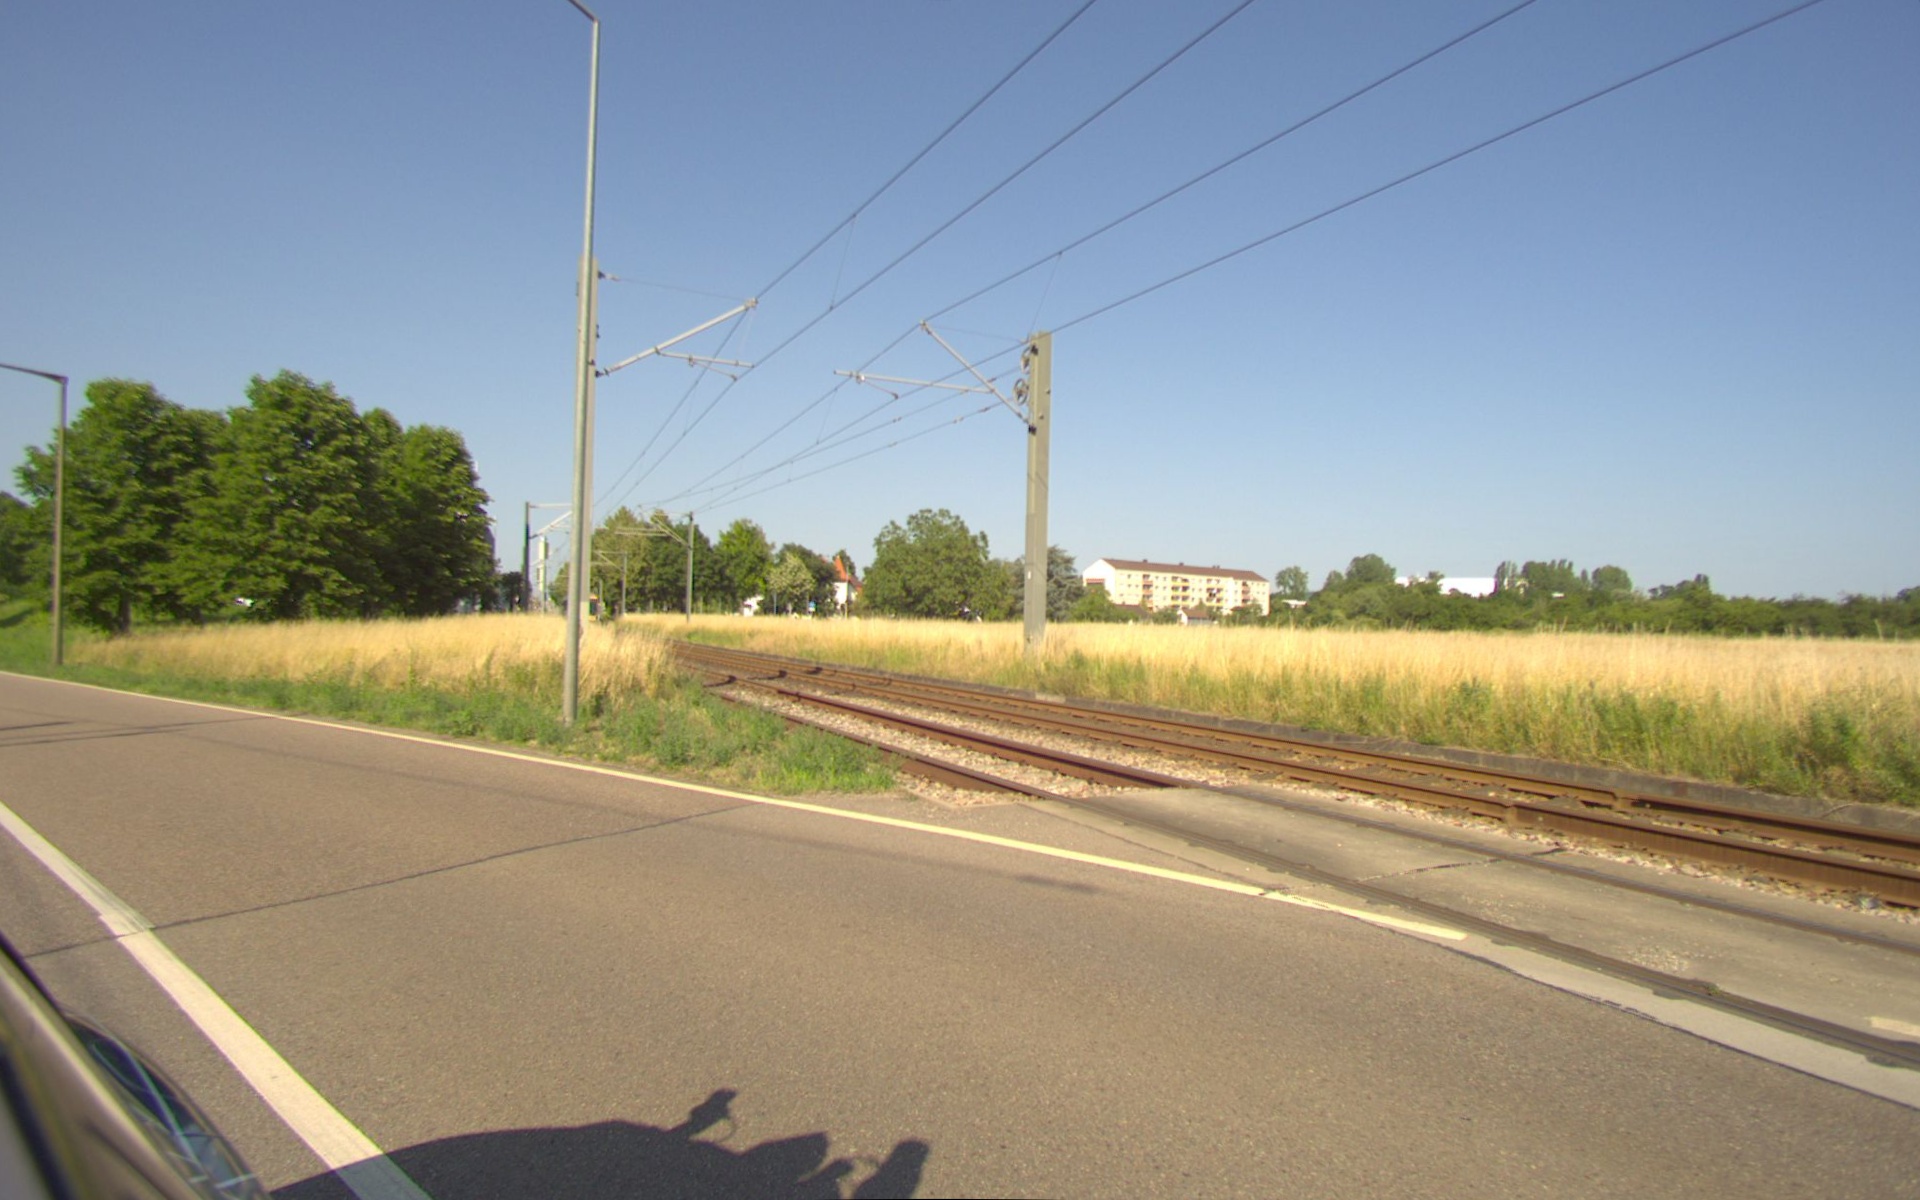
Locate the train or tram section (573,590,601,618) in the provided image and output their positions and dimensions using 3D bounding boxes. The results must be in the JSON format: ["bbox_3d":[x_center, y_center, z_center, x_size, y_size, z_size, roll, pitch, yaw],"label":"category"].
[{"bbox_3d":[-48.613,0.516,132.065,2.909,3.511,12.203,0,0,-18],"label":"train or tram section"}]

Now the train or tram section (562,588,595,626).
[{"bbox_3d":[-40.536,0.627,107.937,2.866,3.595,14.307,0,1,-19],"label":"train or tram section"}]
